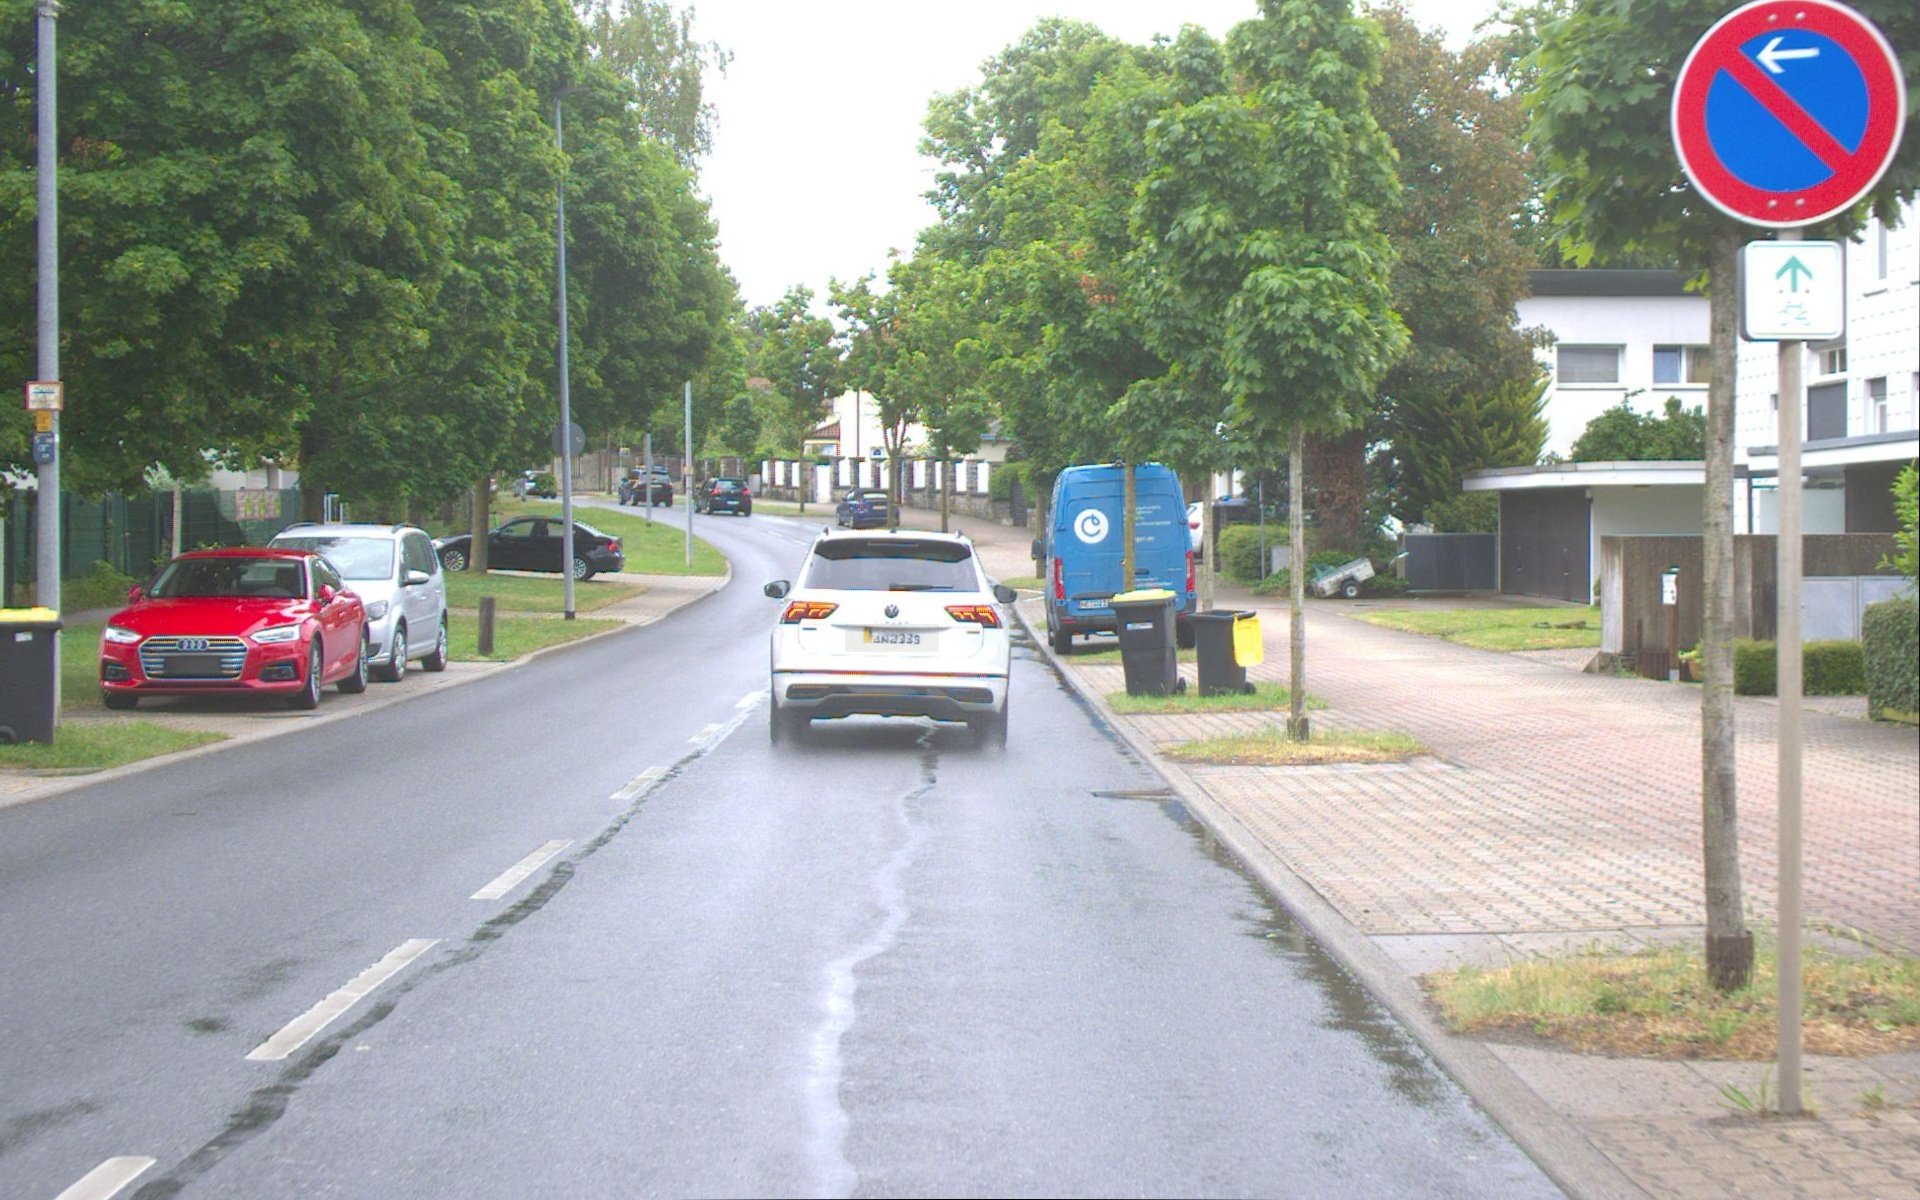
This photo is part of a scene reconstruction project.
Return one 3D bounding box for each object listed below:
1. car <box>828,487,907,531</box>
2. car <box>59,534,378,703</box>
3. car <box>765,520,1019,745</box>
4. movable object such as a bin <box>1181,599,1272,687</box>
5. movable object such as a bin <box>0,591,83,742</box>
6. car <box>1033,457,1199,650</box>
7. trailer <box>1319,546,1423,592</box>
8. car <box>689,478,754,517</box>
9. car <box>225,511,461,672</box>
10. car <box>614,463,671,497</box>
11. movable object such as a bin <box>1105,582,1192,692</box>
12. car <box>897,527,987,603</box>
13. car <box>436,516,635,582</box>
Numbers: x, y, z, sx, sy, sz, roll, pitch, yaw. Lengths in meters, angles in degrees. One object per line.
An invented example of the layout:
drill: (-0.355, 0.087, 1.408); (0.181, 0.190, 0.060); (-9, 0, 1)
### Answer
car: (-3.360, -3.292, 123.796); (1.642, 1.422, 4.002); (1, 2, -20)
car: (-6.637, 0.114, 31.262); (1.993, 1.398, 4.557); (1, 1, -1)
car: (-0.560, 0.194, 27.312); (1.865, 1.645, 4.001); (0, 1, -2)
movable object such as a bin: (2.537, 0.406, 32.736); (0.660, 0.797, 0.600); (-3, 0, 25)
movable object such as a bin: (-6.066, 0.425, 22.368); (0.558, 0.950, 0.549); (1, 1, 3)
car: (2.191, -0.697, 49.654); (1.993, 2.578, 5.634); (-1, 1, -1)
trailer: (8.656, -0.661, 72.519); (2.042, 0.880, 1.364); (2, 1, 3)
car: (-9.503, -4.078, 136.661); (1.642, 1.422, 4.002); (1, 2, -17)
car: (-6.579, -0.129, 37.079); (1.756, 1.622, 4.232); (1, 1, 0)
car: (-14.017, -5.298, 151.678); (1.642, 1.422, 4.002); (1, 2, -17)
movable object such as a bin: (1.831, 0.359, 33.359); (0.615, 1.011, 0.562); (-4, -1, 25)
car: (-0.409, -0.738, 72.256); (1.769, 1.546, 4.000); (0, 1, -2)
car: (-9.643, -1.175, 78.289); (4.219, 1.358, 1.690); (2, 1, 4)
